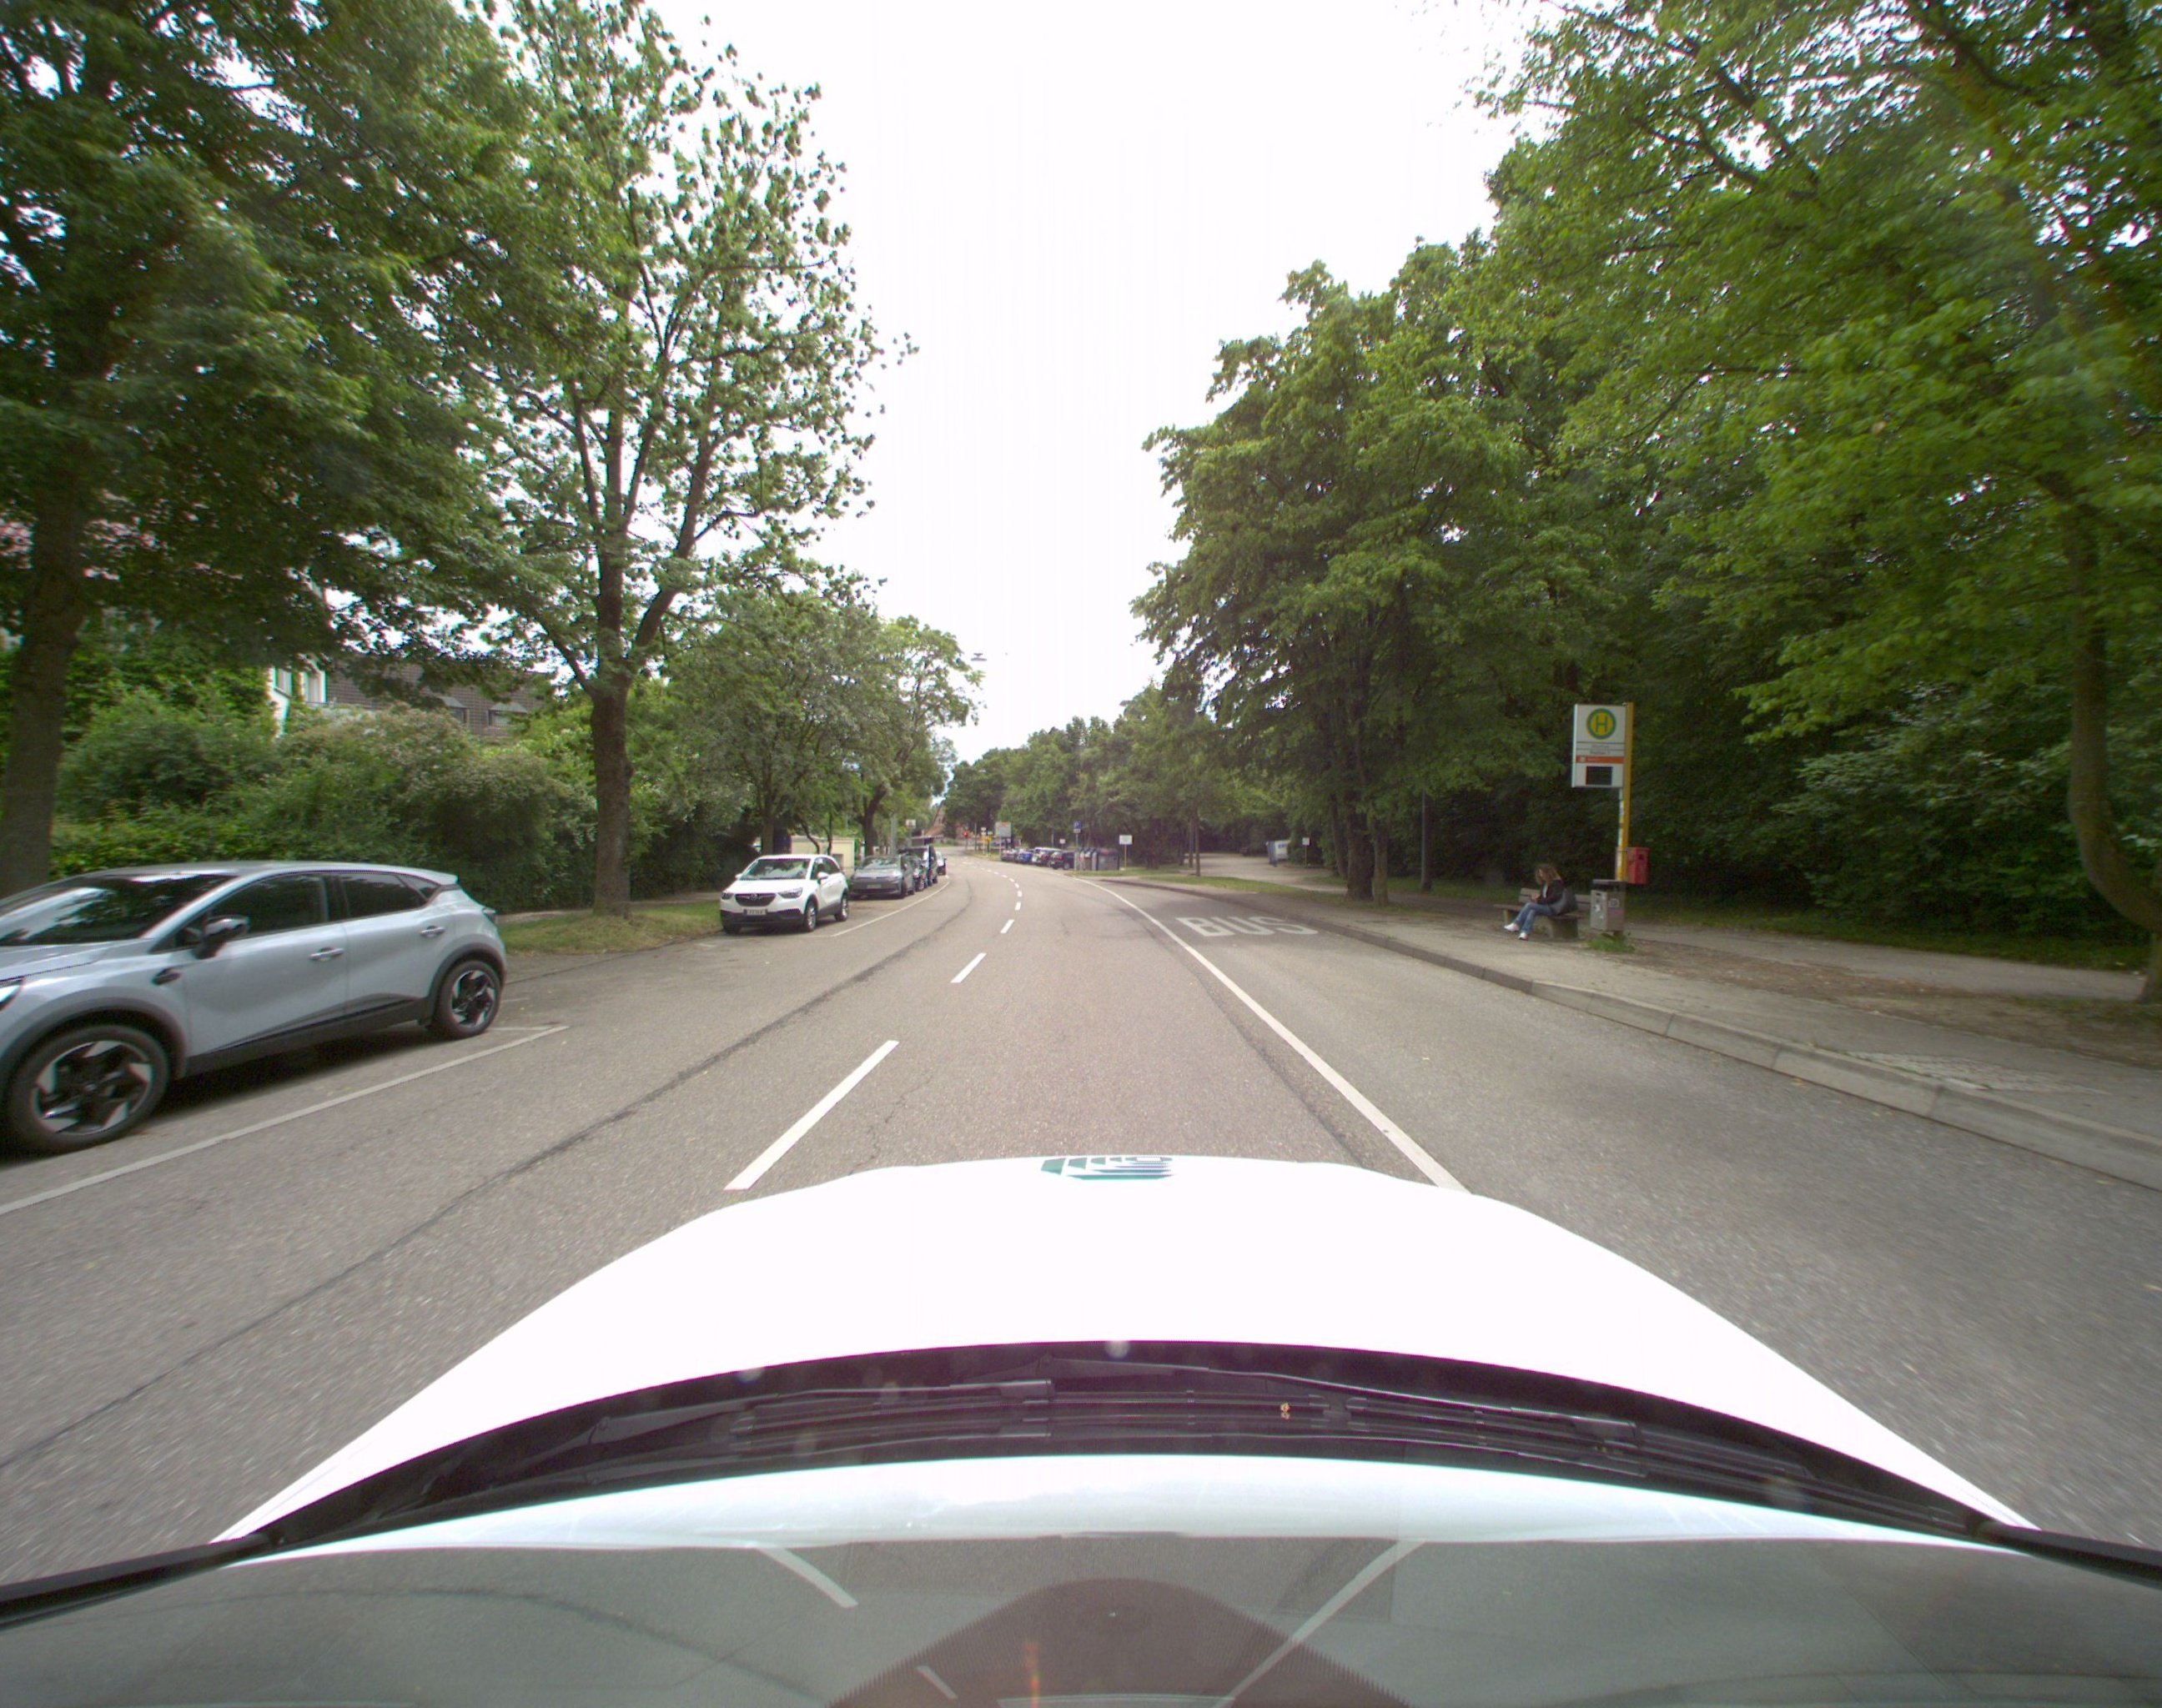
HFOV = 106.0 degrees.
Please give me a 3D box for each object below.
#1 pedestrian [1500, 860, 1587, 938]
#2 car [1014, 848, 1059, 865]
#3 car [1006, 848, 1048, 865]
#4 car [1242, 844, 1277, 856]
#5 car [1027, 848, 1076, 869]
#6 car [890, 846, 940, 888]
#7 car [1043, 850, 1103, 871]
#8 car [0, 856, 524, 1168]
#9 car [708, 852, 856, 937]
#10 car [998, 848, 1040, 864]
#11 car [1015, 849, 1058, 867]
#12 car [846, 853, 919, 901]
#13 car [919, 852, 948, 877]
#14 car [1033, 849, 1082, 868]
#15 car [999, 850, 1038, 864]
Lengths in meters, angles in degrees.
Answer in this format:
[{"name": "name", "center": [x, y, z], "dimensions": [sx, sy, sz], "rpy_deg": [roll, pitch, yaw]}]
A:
[{"name": "pedestrian", "center": [7.299, 0.693, 12.870], "dimensions": [1.061, 1.182, 0.579], "rpy_deg": [0, 0, -4]}, {"name": "car", "center": [-4.177, 0.246, 77.036], "dimensions": [3.844, 1.528, 1.729], "rpy_deg": [3, -1, -32]}, {"name": "car", "center": [-5.400, 0.276, 81.810], "dimensions": [3.844, 1.528, 1.729], "rpy_deg": [3, -1, -32]}, {"name": "car", "center": [22.537, -0.492, 102.721], "dimensions": [3.983, 1.409, 1.796], "rpy_deg": [0, 0, -7]}, {"name": "car", "center": [-2.625, 0.384, 72.652], "dimensions": [3.844, 1.720, 1.859], "rpy_deg": [3, -1, -32]}, {"name": "car", "center": [-7.918, 0.572, 39.250], "dimensions": [1.856, 1.909, 5.072], "rpy_deg": [-1, 0, -6]}, {"name": "car", "center": [-0.572, 0.503, 61.755], "dimensions": [4.013, 1.414, 2.037], "rpy_deg": [3, 1, -32]}, {"name": "car", "center": [-6.242, 0.815, 5.658], "dimensions": [1.729, 1.538, 4.191], "rpy_deg": [-1, 0, 2]}, {"name": "car", "center": [-6.290, 0.766, 17.643], "dimensions": [1.731, 1.578, 4.139], "rpy_deg": [-1, 0, -1]}, {"name": "car", "center": [-6.468, 0.209, 84.783], "dimensions": [3.899, 1.426, 1.812], "rpy_deg": [3, -1, -32]}, {"name": "car", "center": [-4.351, 0.400, 80.026], "dimensions": [3.844, 1.528, 1.729], "rpy_deg": [3, -1, -32]}, {"name": "car", "center": [-6.996, 0.760, 29.155], "dimensions": [1.863, 1.538, 4.220], "rpy_deg": [-1, 0, -4]}, {"name": "car", "center": [-10.064, 0.670, 55.606], "dimensions": [1.805, 1.563, 4.251], "rpy_deg": [-3, 1, -11]}, {"name": "car", "center": [-1.990, 0.377, 69.746], "dimensions": [3.844, 1.468, 1.729], "rpy_deg": [3, 0, -32]}, {"name": "car", "center": [-6.900, 0.302, 89.594], "dimensions": [3.844, 1.425, 1.729], "rpy_deg": [3, -1, -32]}]
